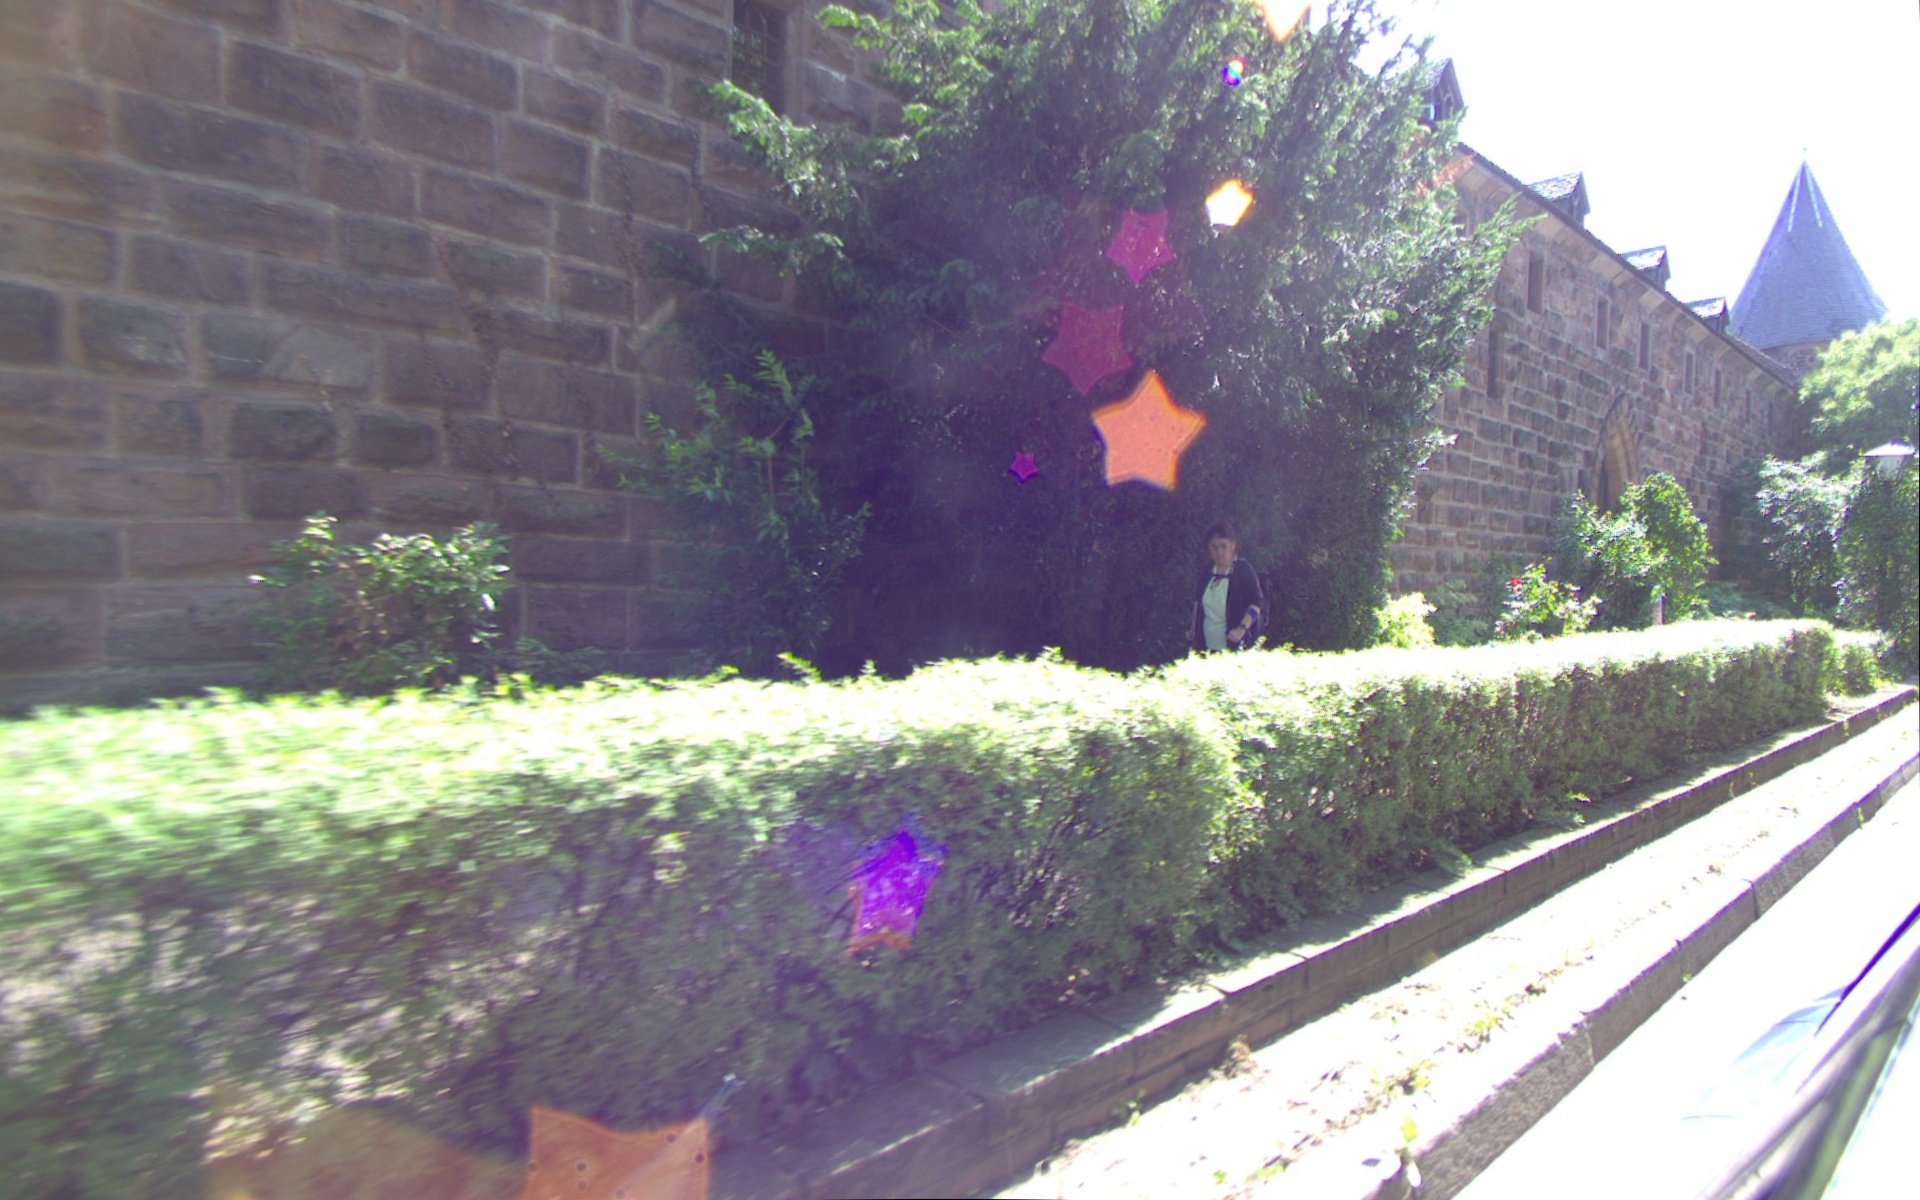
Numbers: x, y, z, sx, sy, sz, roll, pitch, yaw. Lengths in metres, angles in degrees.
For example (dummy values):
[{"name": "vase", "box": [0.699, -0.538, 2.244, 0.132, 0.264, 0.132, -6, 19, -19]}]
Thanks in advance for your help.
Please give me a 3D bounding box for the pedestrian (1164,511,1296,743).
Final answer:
[{"name": "pedestrian", "box": [2.075, 0.193, 7.790, 0.692, 1.673, 0.700, 0, 0, -38]}]
